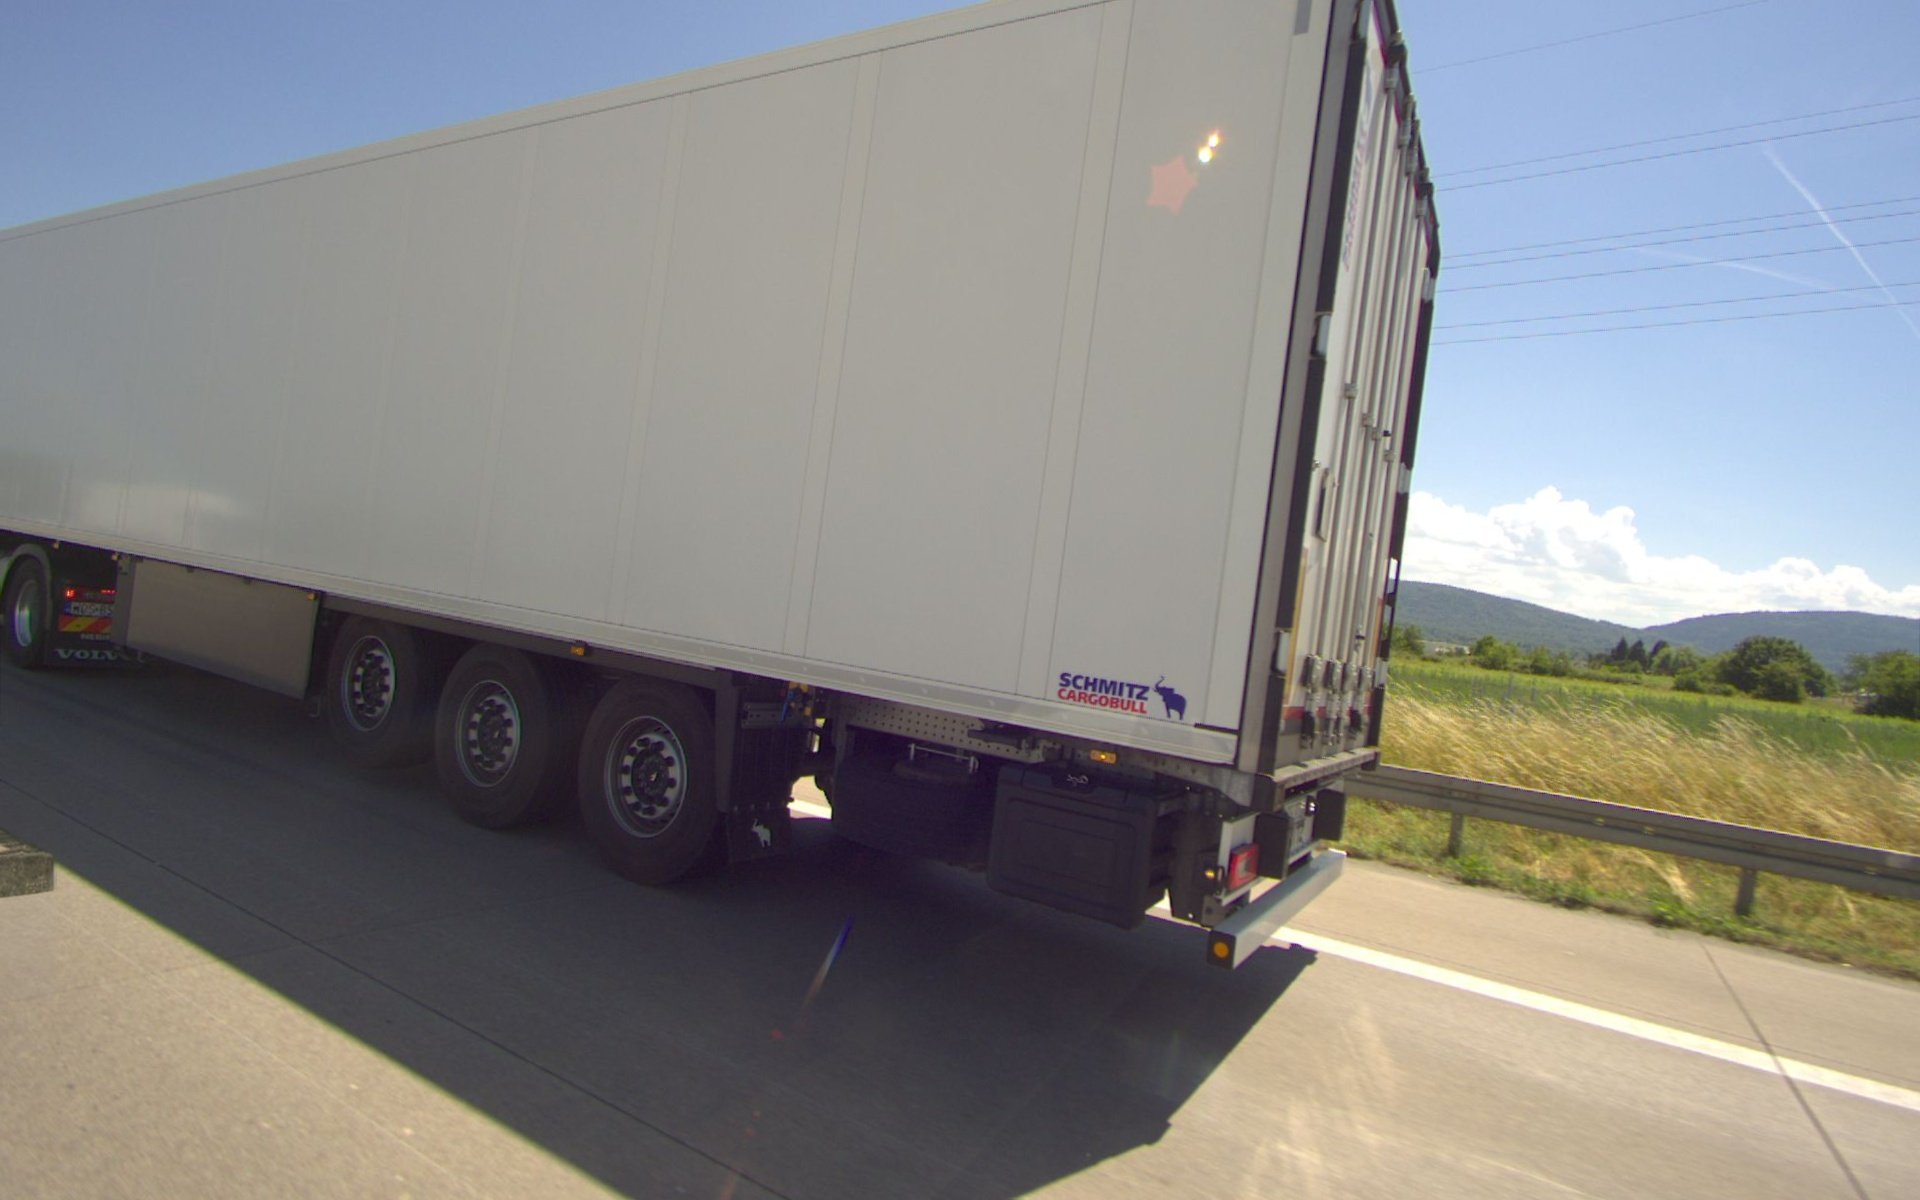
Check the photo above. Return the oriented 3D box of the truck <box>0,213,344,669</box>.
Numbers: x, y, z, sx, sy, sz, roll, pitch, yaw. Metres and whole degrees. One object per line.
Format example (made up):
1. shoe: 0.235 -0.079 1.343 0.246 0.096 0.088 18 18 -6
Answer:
1. truck: -10.295 -1.628 11.756 5.375 4.091 2.755 6 -1 31

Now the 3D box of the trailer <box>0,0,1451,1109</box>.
1. trailer: -3.600 -0.887 7.670 12.687 4.091 2.714 6 -1 31
